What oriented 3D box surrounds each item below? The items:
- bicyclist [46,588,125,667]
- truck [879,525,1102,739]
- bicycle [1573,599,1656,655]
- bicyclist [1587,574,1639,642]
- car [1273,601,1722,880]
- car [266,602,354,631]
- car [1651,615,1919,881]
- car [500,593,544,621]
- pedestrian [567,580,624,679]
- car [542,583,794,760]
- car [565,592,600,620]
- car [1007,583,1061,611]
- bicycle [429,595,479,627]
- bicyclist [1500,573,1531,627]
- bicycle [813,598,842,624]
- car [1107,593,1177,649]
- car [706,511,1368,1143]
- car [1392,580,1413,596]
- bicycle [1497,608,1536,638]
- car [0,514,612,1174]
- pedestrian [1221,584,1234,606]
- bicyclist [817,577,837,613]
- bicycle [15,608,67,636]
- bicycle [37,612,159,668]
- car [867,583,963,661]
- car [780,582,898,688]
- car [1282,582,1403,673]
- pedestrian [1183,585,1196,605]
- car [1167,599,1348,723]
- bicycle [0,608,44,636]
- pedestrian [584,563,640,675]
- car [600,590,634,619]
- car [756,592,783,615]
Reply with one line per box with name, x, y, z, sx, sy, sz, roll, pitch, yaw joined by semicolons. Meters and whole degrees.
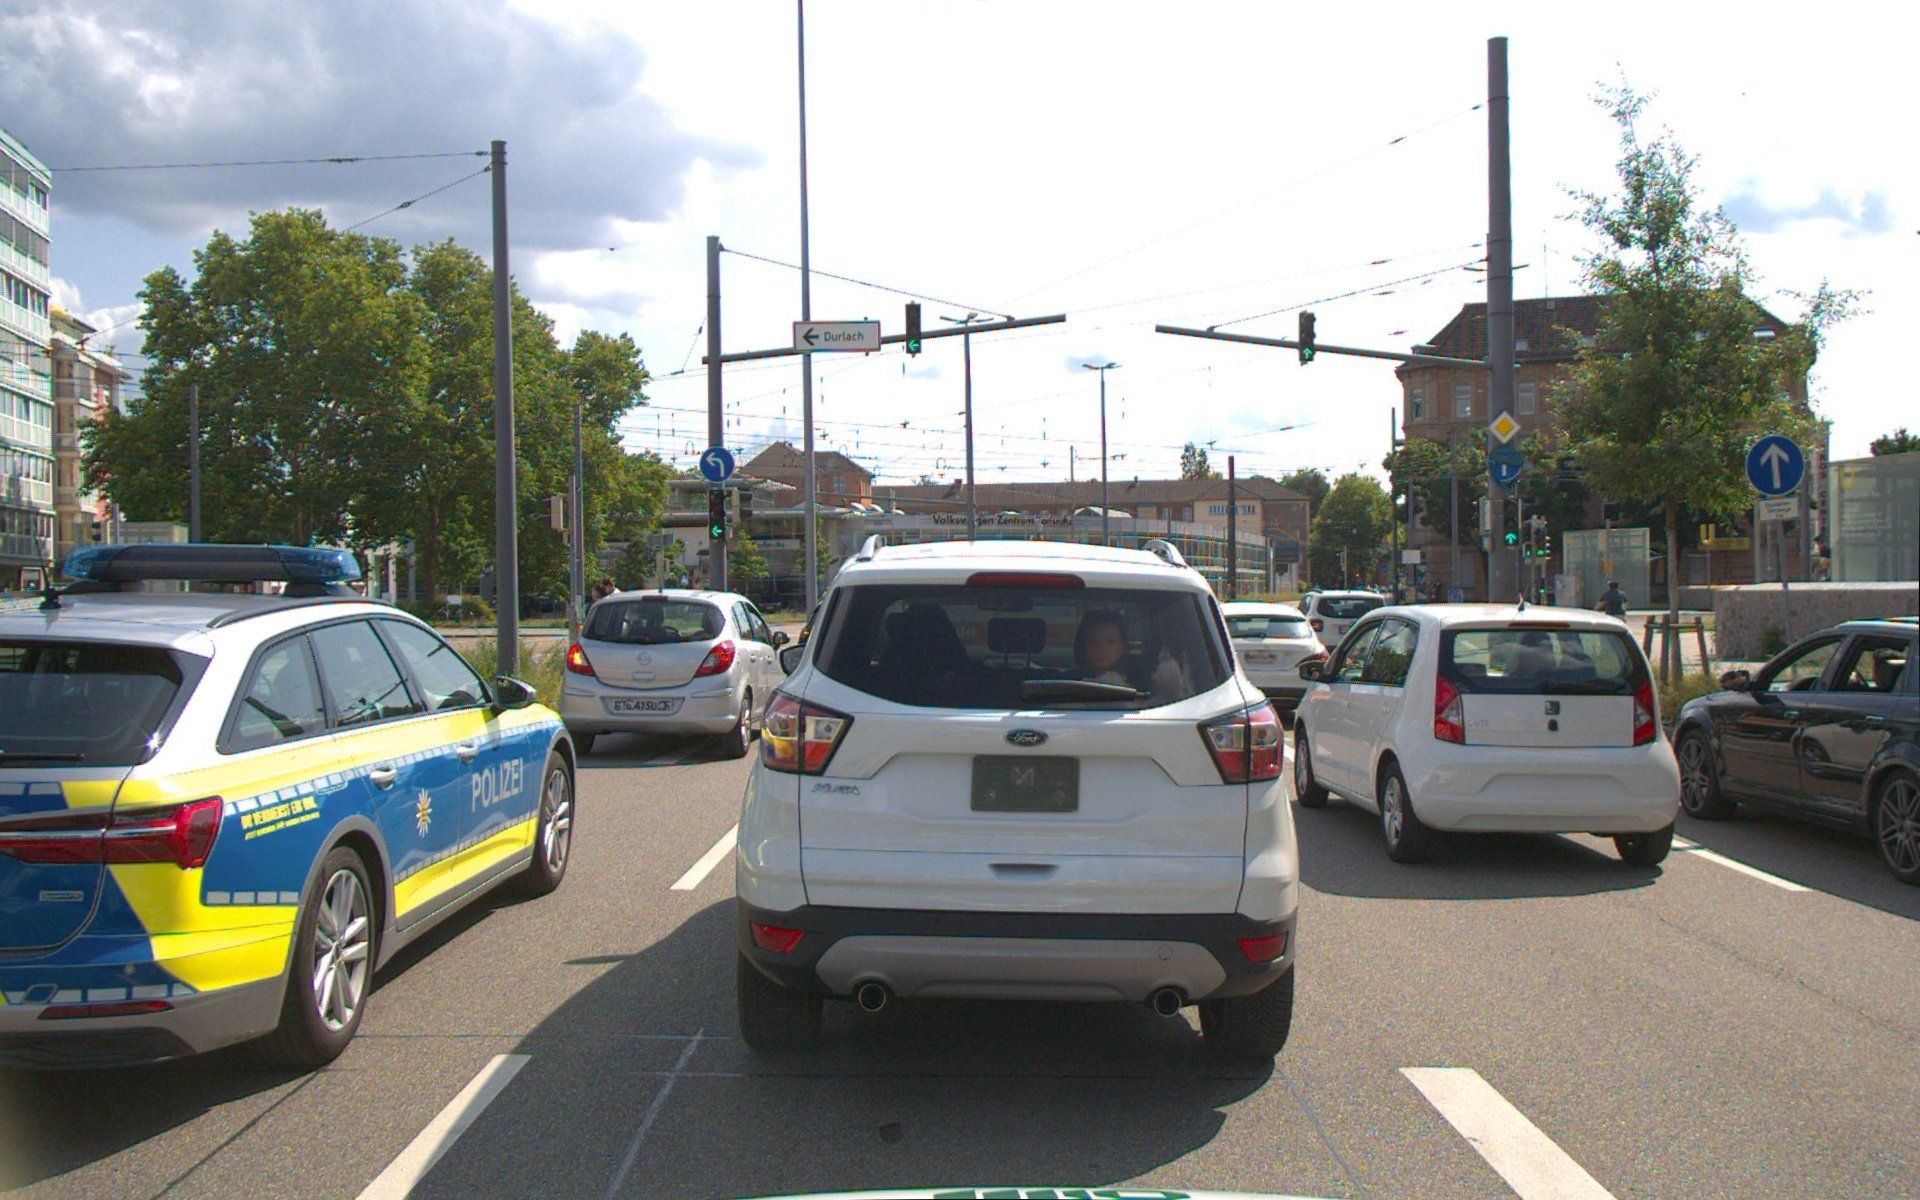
bicyclist;-20.159;0.631;38.136;1.271;1.761;0.994;-1;0;-3
truck;0.398;0.325;20.089;2.290;2.193;5.853;1;0;2
bicycle;12.437;0.498;31.495;0.829;0.987;1.961;-3;0;3
bicyclist;12.406;0.145;31.425;0.621;1.241;0.924;-3;1;4
car;3.292;0.761;10.953;1.616;1.446;3.999;-1;0;-1
car;-33.808;0.860;86.042;3.907;1.350;1.632;-2;-1;-3
car;5.938;0.801;10.123;1.664;1.396;4.132;0;-1;0
car;-32.714;0.547;123.604;1.928;1.971;5.067;-2;-1;-1
pedestrian;-6.343;0.506;28.814;0.830;1.676;0.692;-1;-1;-1
car;-2.711;0.610;16.235;1.810;1.500;3.999;-1;0;-1
car;-28.144;0.499;123.437;1.929;1.971;4.226;-2;-1;-5
car;4.232;-0.181;93.727;1.860;1.487;3.969;-2;0;21
bicycle;-22.784;0.479;74.554;2.133;1.439;0.809;0;1;-16
bicyclist;15.481;0.004;46.077;0.595;1.476;0.774;-1;0;1
bicycle;-6.446;0.509;80.331;0.743;1.213;2.152;-2;0;14
car;4.940;0.539;44.946;1.810;1.443;3.681;0;0;6
car;0.299;0.609;6.479;1.789;1.693;3.957;0;0;3
car;45.378;-1.223;169.661;1.798;1.681;4.001;0;0;19
bicycle;15.471;0.634;46.013;0.572;0.789;1.621;-1;0;1
car;-2.723;0.590;6.319;1.842;1.595;4.614;-1;0;-1
pedestrian;24.377;-0.473;150.810;0.859;1.956;0.874;1;-1;32
bicyclist;-6.461;-0.248;80.400;0.743;1.712;0.761;-2;0;14
bicycle;-40.701;0.968;73.278;1.914;1.167;0.792;-1;0;-19
bicycle;-19.869;0.923;38.156;2.248;1.209;0.994;-1;0;-4
car;-1.039;0.455;36.607;1.999;1.606;4.537;0;0;-3
car;-1.905;0.527;27.191;1.727;1.595;4.525;0;0;-2
car;7.431;0.521;32.481;1.797;1.681;4.002;0;0;5
pedestrian;20.045;-0.451;144.414;0.860;1.767;0.873;1;-1;35
car;3.690;0.709;21.081;1.811;1.443;3.680;0;0;3
bicycle;-40.947;0.944;71.971;1.776;1.167;0.792;0;0;-19
pedestrian;-6.212;0.334;29.566;0.830;1.950;0.692;-1;-1;-1
car;-25.537;0.372;123.222;1.955;2.049;4.226;-2;-1;-5
car;-13.982;0.297;121.749;1.783;1.560;3.913;-2;-1;-5
